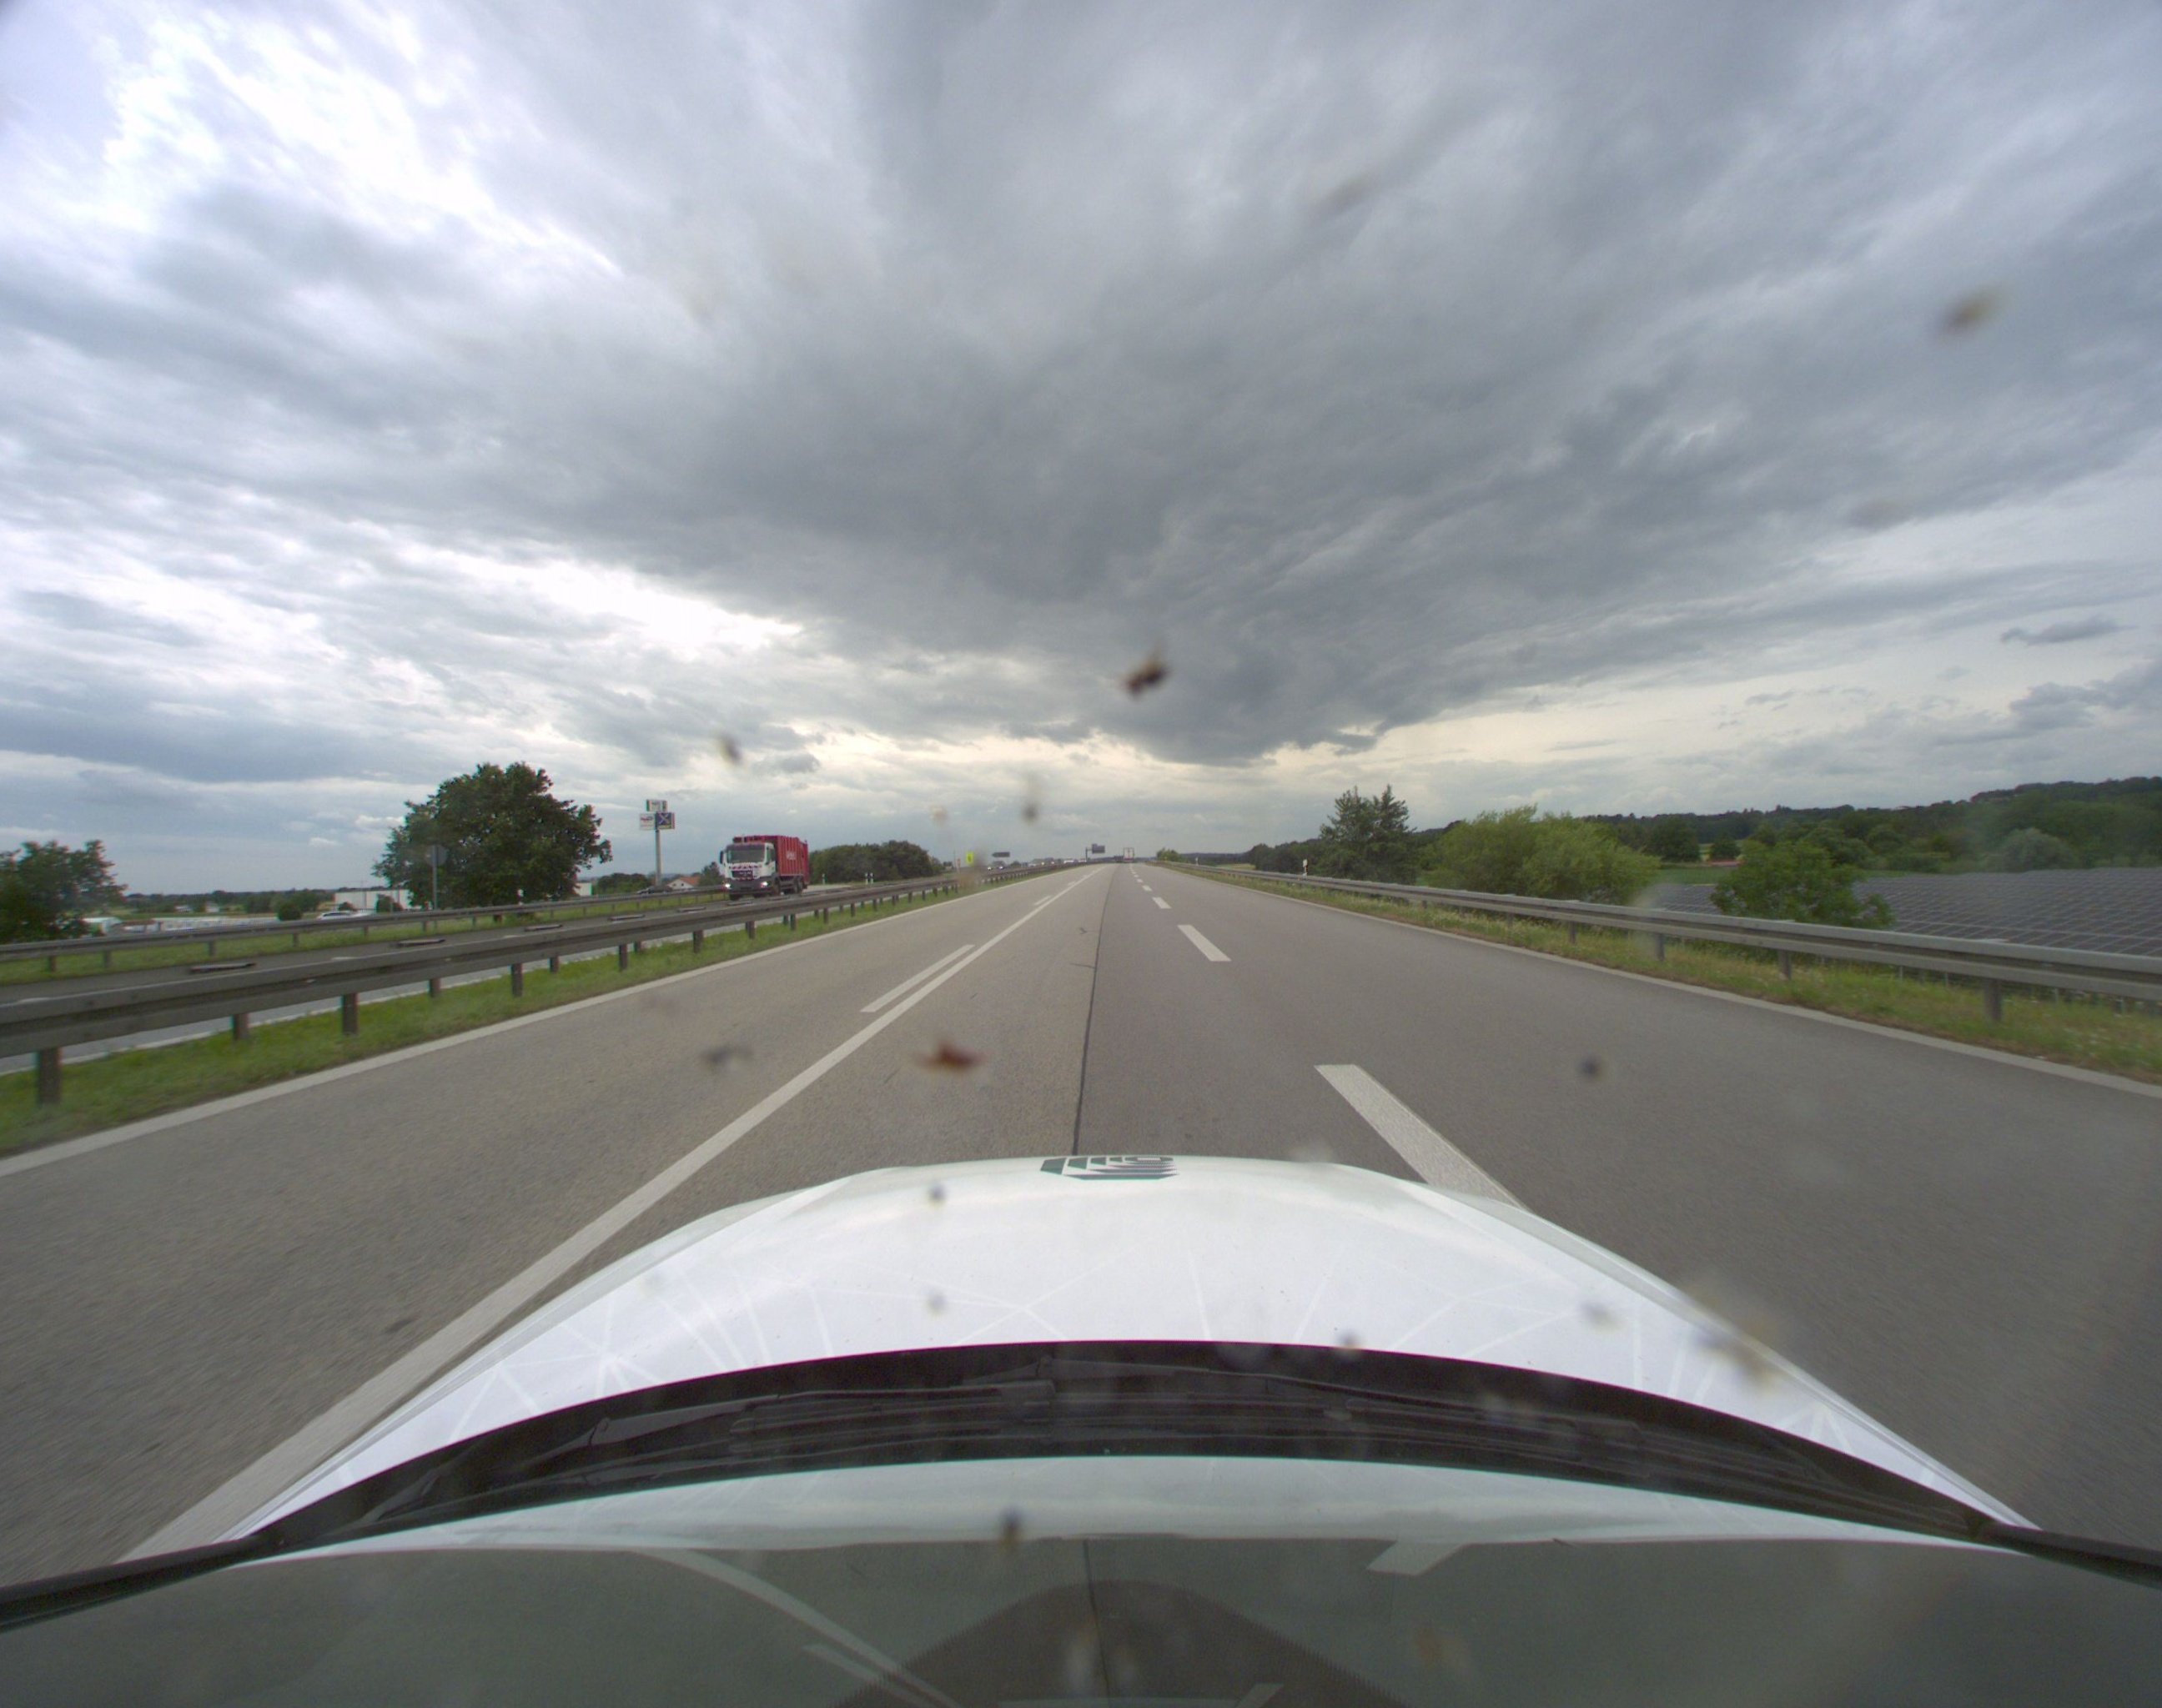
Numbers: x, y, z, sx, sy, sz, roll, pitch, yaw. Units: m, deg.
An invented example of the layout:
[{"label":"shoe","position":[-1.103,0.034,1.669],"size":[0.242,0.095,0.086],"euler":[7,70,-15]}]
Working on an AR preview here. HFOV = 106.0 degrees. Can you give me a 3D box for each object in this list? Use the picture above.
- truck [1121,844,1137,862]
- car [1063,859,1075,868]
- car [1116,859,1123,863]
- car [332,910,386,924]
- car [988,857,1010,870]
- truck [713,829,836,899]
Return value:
[{"label":"truck","position":[13.439,-0.153,227.044],"size":[3.654,4.413,16.364],"euler":[-2,-2,6]},{"label":"car","position":[-2.239,1.813,155.697],"size":[1.846,1.588,4.820],"euler":[-2,0,3]},{"label":"car","position":[11.979,2.196,253.863],"size":[1.985,1.420,4.003],"euler":[0,-1,3]},{"label":"car","position":[-85.332,7.470,96.274],"size":[4.297,1.473,1.904],"euler":[1,-1,-23]},{"label":"car","position":[-9.563,1.088,95.080],"size":[1.818,1.346,4.787],"euler":[-2,0,3]},{"label":"truck","position":[-17.779,0.571,48.332],"size":[2.658,3.536,11.082],"euler":[-4,-1,2]}]
